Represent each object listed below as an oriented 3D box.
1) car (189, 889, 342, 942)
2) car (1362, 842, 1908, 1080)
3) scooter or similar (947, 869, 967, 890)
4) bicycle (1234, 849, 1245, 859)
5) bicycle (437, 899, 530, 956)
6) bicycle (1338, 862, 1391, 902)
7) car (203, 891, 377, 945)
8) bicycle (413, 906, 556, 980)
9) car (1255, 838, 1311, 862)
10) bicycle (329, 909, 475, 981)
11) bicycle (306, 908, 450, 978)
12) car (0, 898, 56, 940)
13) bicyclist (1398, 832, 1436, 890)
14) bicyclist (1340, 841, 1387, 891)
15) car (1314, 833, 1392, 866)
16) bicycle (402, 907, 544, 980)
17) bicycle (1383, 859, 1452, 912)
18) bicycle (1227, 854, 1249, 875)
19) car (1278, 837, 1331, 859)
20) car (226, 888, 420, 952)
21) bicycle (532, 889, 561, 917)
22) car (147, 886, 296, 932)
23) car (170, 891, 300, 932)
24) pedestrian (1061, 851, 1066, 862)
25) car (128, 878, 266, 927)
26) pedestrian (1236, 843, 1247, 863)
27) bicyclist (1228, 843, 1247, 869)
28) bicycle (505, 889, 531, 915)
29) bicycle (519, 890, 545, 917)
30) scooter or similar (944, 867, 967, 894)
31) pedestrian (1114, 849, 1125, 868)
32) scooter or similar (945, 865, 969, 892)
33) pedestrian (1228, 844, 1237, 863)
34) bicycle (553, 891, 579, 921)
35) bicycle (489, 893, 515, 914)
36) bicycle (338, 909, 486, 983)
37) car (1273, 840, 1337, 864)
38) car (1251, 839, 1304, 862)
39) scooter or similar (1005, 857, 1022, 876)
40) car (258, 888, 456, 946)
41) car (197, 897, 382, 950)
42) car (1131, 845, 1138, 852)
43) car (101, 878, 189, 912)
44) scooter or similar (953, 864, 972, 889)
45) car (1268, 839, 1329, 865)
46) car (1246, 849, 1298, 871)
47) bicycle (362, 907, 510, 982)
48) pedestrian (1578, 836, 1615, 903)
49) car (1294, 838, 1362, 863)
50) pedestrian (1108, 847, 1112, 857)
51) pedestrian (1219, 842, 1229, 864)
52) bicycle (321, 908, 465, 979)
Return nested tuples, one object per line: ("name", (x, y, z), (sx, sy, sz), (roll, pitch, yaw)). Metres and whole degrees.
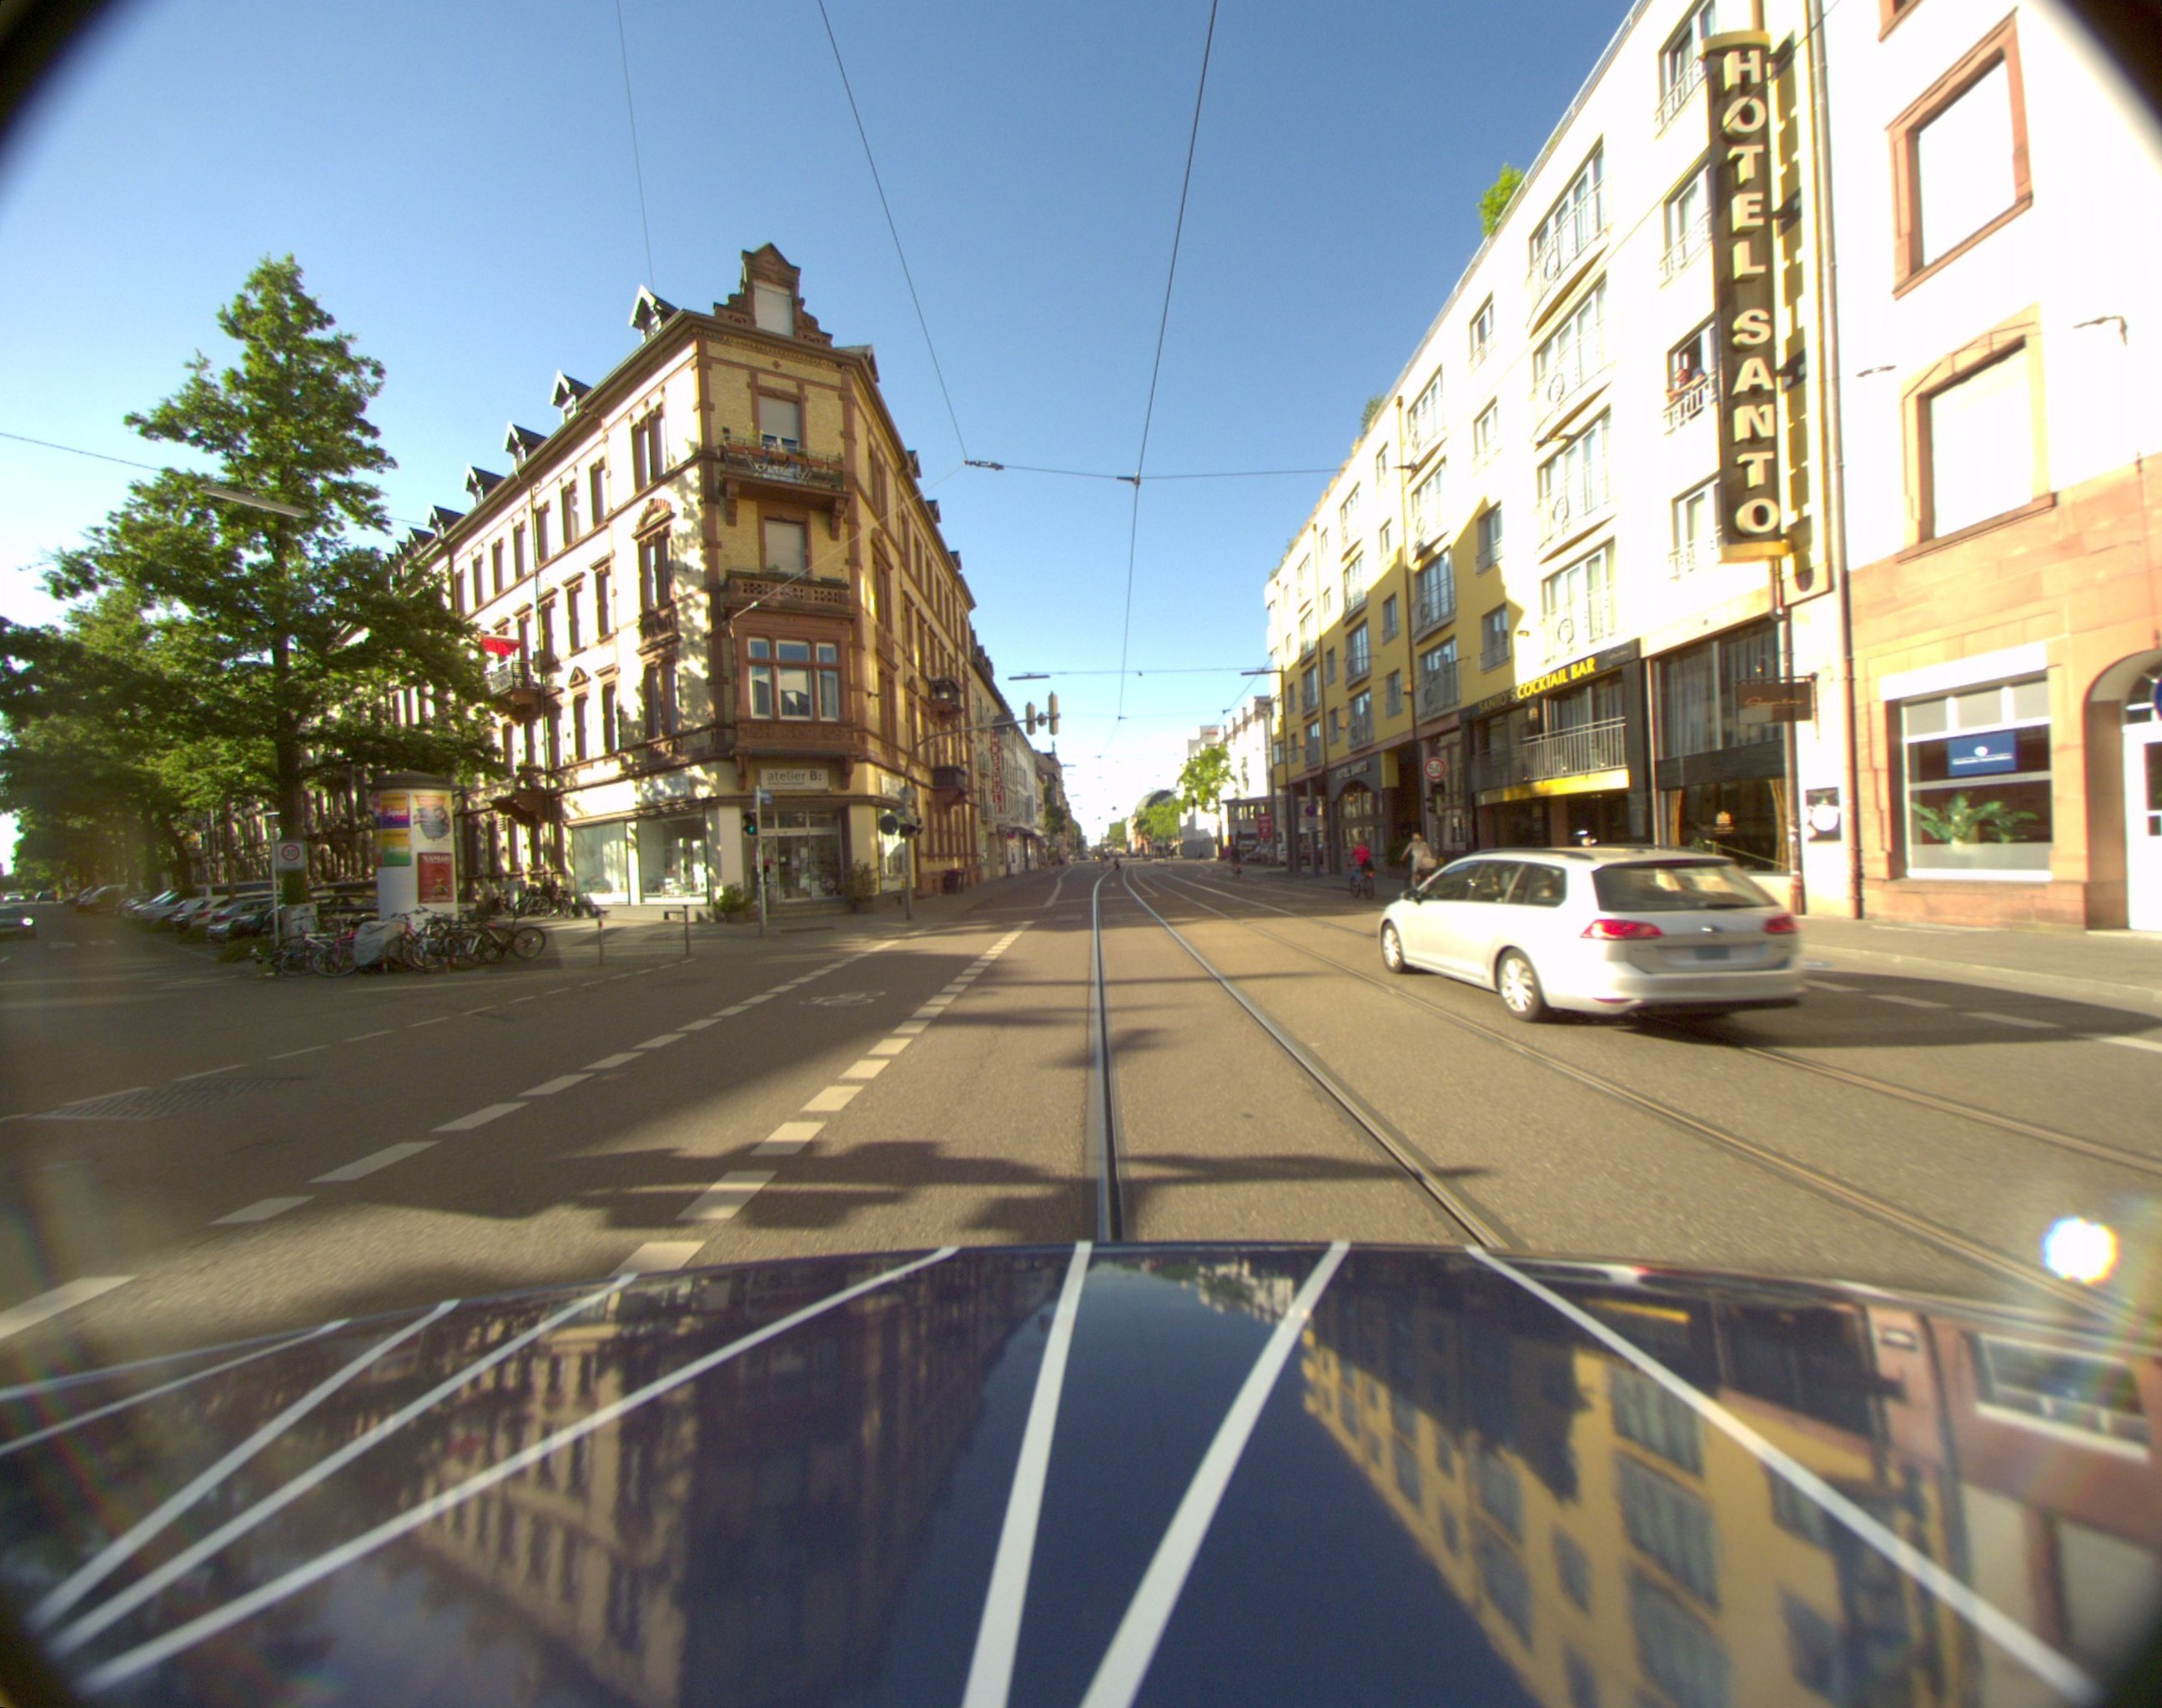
("car", (-32.454, 2.383, 30.353), (1.517, 1.747, 3.871), (-2, 0, 31))
("car", (4.483, 0.704, 7.202), (1.990, 1.493, 4.308), (-3, 0, 0))
("scooter or similar", (-5.660, 1.164, 34.797), (0.792, 0.952, 0.680), (1, 1, -1))
("bicycle", (16.148, 0.001, 77.488), (0.525, 1.030, 1.878), (-3, 0, -6))
("bicycle", (-14.438, 1.763, 18.399), (0.543, 1.136, 1.619), (-2, 3, 23))
("bicycle", (8.145, 0.782, 21.914), (0.732, 1.059, 2.061), (1, 0, 0))
("car", (-28.098, 2.225, 27.139), (1.547, 1.516, 4.007), (-2, 0, 31))
("bicycle", (-11.718, 1.712, 15.034), (0.617, 1.136, 2.123), (-2, 2, 23))
("car", (17.133, -0.368, 64.638), (4.243, 1.801, 1.785), (-3, 1, 2))
("bicycle", (-13.989, 1.837, 15.752), (0.617, 1.136, 2.122), (-2, 3, 23))
("bicycle", (-15.053, 1.872, 16.362), (0.617, 1.136, 2.122), (-2, 3, 23))
("car", (-46.717, 2.834, 33.381), (4.239, 1.596, 1.848), (-2, 2, 38))
("bicyclist", (8.266, 0.166, 18.708), (0.591, 1.368, 0.679), (-3, 1, -1))
("bicyclist", (8.172, 0.334, 22.027), (0.737, 1.373, 1.468), (-3, 1, 0))
("car", (17.287, -0.303, 48.407), (4.243, 1.801, 1.785), (-3, 1, 2))
("bicycle", (-12.128, 1.747, 15.259), (0.617, 1.136, 2.123), (-2, 2, 23))
("bicycle", (8.276, 0.742, 18.776), (0.732, 1.176, 2.061), (-3, 1, 0))
("bicycle", (8.643, 0.577, 41.873), (0.732, 1.082, 2.061), (-3, 0, 0))
("car", (18.261, -0.481, 62.189), (3.698, 1.663, 1.785), (-3, 1, 1))
("car", (-24.224, 2.050, 24.444), (1.821, 1.592, 4.007), (-2, 1, 31))
("bicycle", (-19.106, 1.747, 27.153), (1.283, 0.951, 0.398), (-2, 1, 36))
("car", (-42.347, 2.676, 37.557), (1.547, 1.822, 4.679), (-2, 1, 36))
("car", (-38.673, 2.602, 34.811), (1.547, 1.516, 3.691), (-2, 1, 32))
("pedestrian", (-2.747, 0.416, 121.761), (0.695, 1.680, 0.688), (-3, 1, 1))
("car", (-46.787, 2.507, 40.330), (1.842, 2.189, 4.481), (-2, 1, 32))
("pedestrian", (14.598, -0.111, 69.008), (0.715, 1.754, 0.779), (-3, 1, -7))
("bicyclist", (8.612, 0.127, 41.904), (0.726, 1.373, 1.227), (-3, 1, 0))
("bicycle", (-21.546, 1.830, 29.070), (1.342, 0.951, 0.398), (-2, 1, 36))
("bicycle", (-20.206, 1.820, 27.941), (1.283, 0.951, 0.398), (-2, -2, 36))
("scooter or similar", (-5.465, 1.139, 33.036), (0.899, 1.142, 0.547), (2, 1, -1))
("pedestrian", (3.348, 0.392, 65.900), (0.781, 1.551, 0.650), (-3, 1, -1))
("scooter or similar", (-5.541, 1.086, 34.022), (0.935, 1.142, 0.650), (1, 1, -1))
("pedestrian", (13.525, -0.043, 67.840), (0.573, 1.608, 0.499), (-3, 1, 0))
("bicycle", (-17.755, 1.777, 26.198), (0.996, 0.998, 0.398), (-2, 1, 36))
("bicycle", (-22.856, 1.959, 29.980), (1.342, 0.793, 0.398), (-2, 1, 36))
("bicycle", (-13.525, 1.821, 15.458), (0.617, 1.136, 2.122), (-2, 3, 23))
("car", (16.767, -0.112, 57.063), (4.243, 1.599, 1.786), (-2, -1, 2))
("car", (17.303, -0.331, 67.043), (4.244, 1.801, 1.785), (-3, 1, 1))
("scooter or similar", (-5.062, 0.961, 56.989), (0.410, 1.274, 1.286), (19, 0, 17))
("car", (-22.110, 1.874, 23.381), (1.821, 1.363, 4.007), (-2, 0, 31))
("car", (-26.416, 2.255, 25.512), (1.547, 1.349, 4.007), (-2, 0, 31))
("car", (17.767, -1.840, 254.186), (1.884, 2.001, 4.000), (-4, -1, 0))
("car", (-71.778, 3.117, 58.322), (1.547, 2.308, 4.007), (-2, 1, 32))
("scooter or similar", (-5.647, 1.070, 36.279), (0.792, 1.142, 0.790), (1, 1, -1))
("car", (16.943, -0.179, 59.276), (4.244, 1.802, 1.784), (-2, 3, 1))
("car", (17.524, 0.562, 69.797), (4.244, 1.753, 1.785), (-4, 1, 1))
("bicycle", (-12.822, 1.763, 15.197), (0.617, 1.136, 2.122), (-2, 3, 23))
("pedestrian", (11.073, 0.319, 16.336), (0.405, 1.402, 0.516), (-3, 1, 0))
("car", (17.623, -0.261, 54.355), (4.244, 1.540, 1.784), (-2, 3, 1))
("pedestrian", (4.922, -0.368, 128.621), (0.716, 1.635, 0.400), (-2, 1, 4))
("pedestrian", (12.764, -0.126, 67.938), (0.639, 1.935, 0.709), (-3, 1, 0))
("bicycle", (-14.511, 1.855, 16.113), (0.617, 1.136, 2.122), (-2, 3, 23))
